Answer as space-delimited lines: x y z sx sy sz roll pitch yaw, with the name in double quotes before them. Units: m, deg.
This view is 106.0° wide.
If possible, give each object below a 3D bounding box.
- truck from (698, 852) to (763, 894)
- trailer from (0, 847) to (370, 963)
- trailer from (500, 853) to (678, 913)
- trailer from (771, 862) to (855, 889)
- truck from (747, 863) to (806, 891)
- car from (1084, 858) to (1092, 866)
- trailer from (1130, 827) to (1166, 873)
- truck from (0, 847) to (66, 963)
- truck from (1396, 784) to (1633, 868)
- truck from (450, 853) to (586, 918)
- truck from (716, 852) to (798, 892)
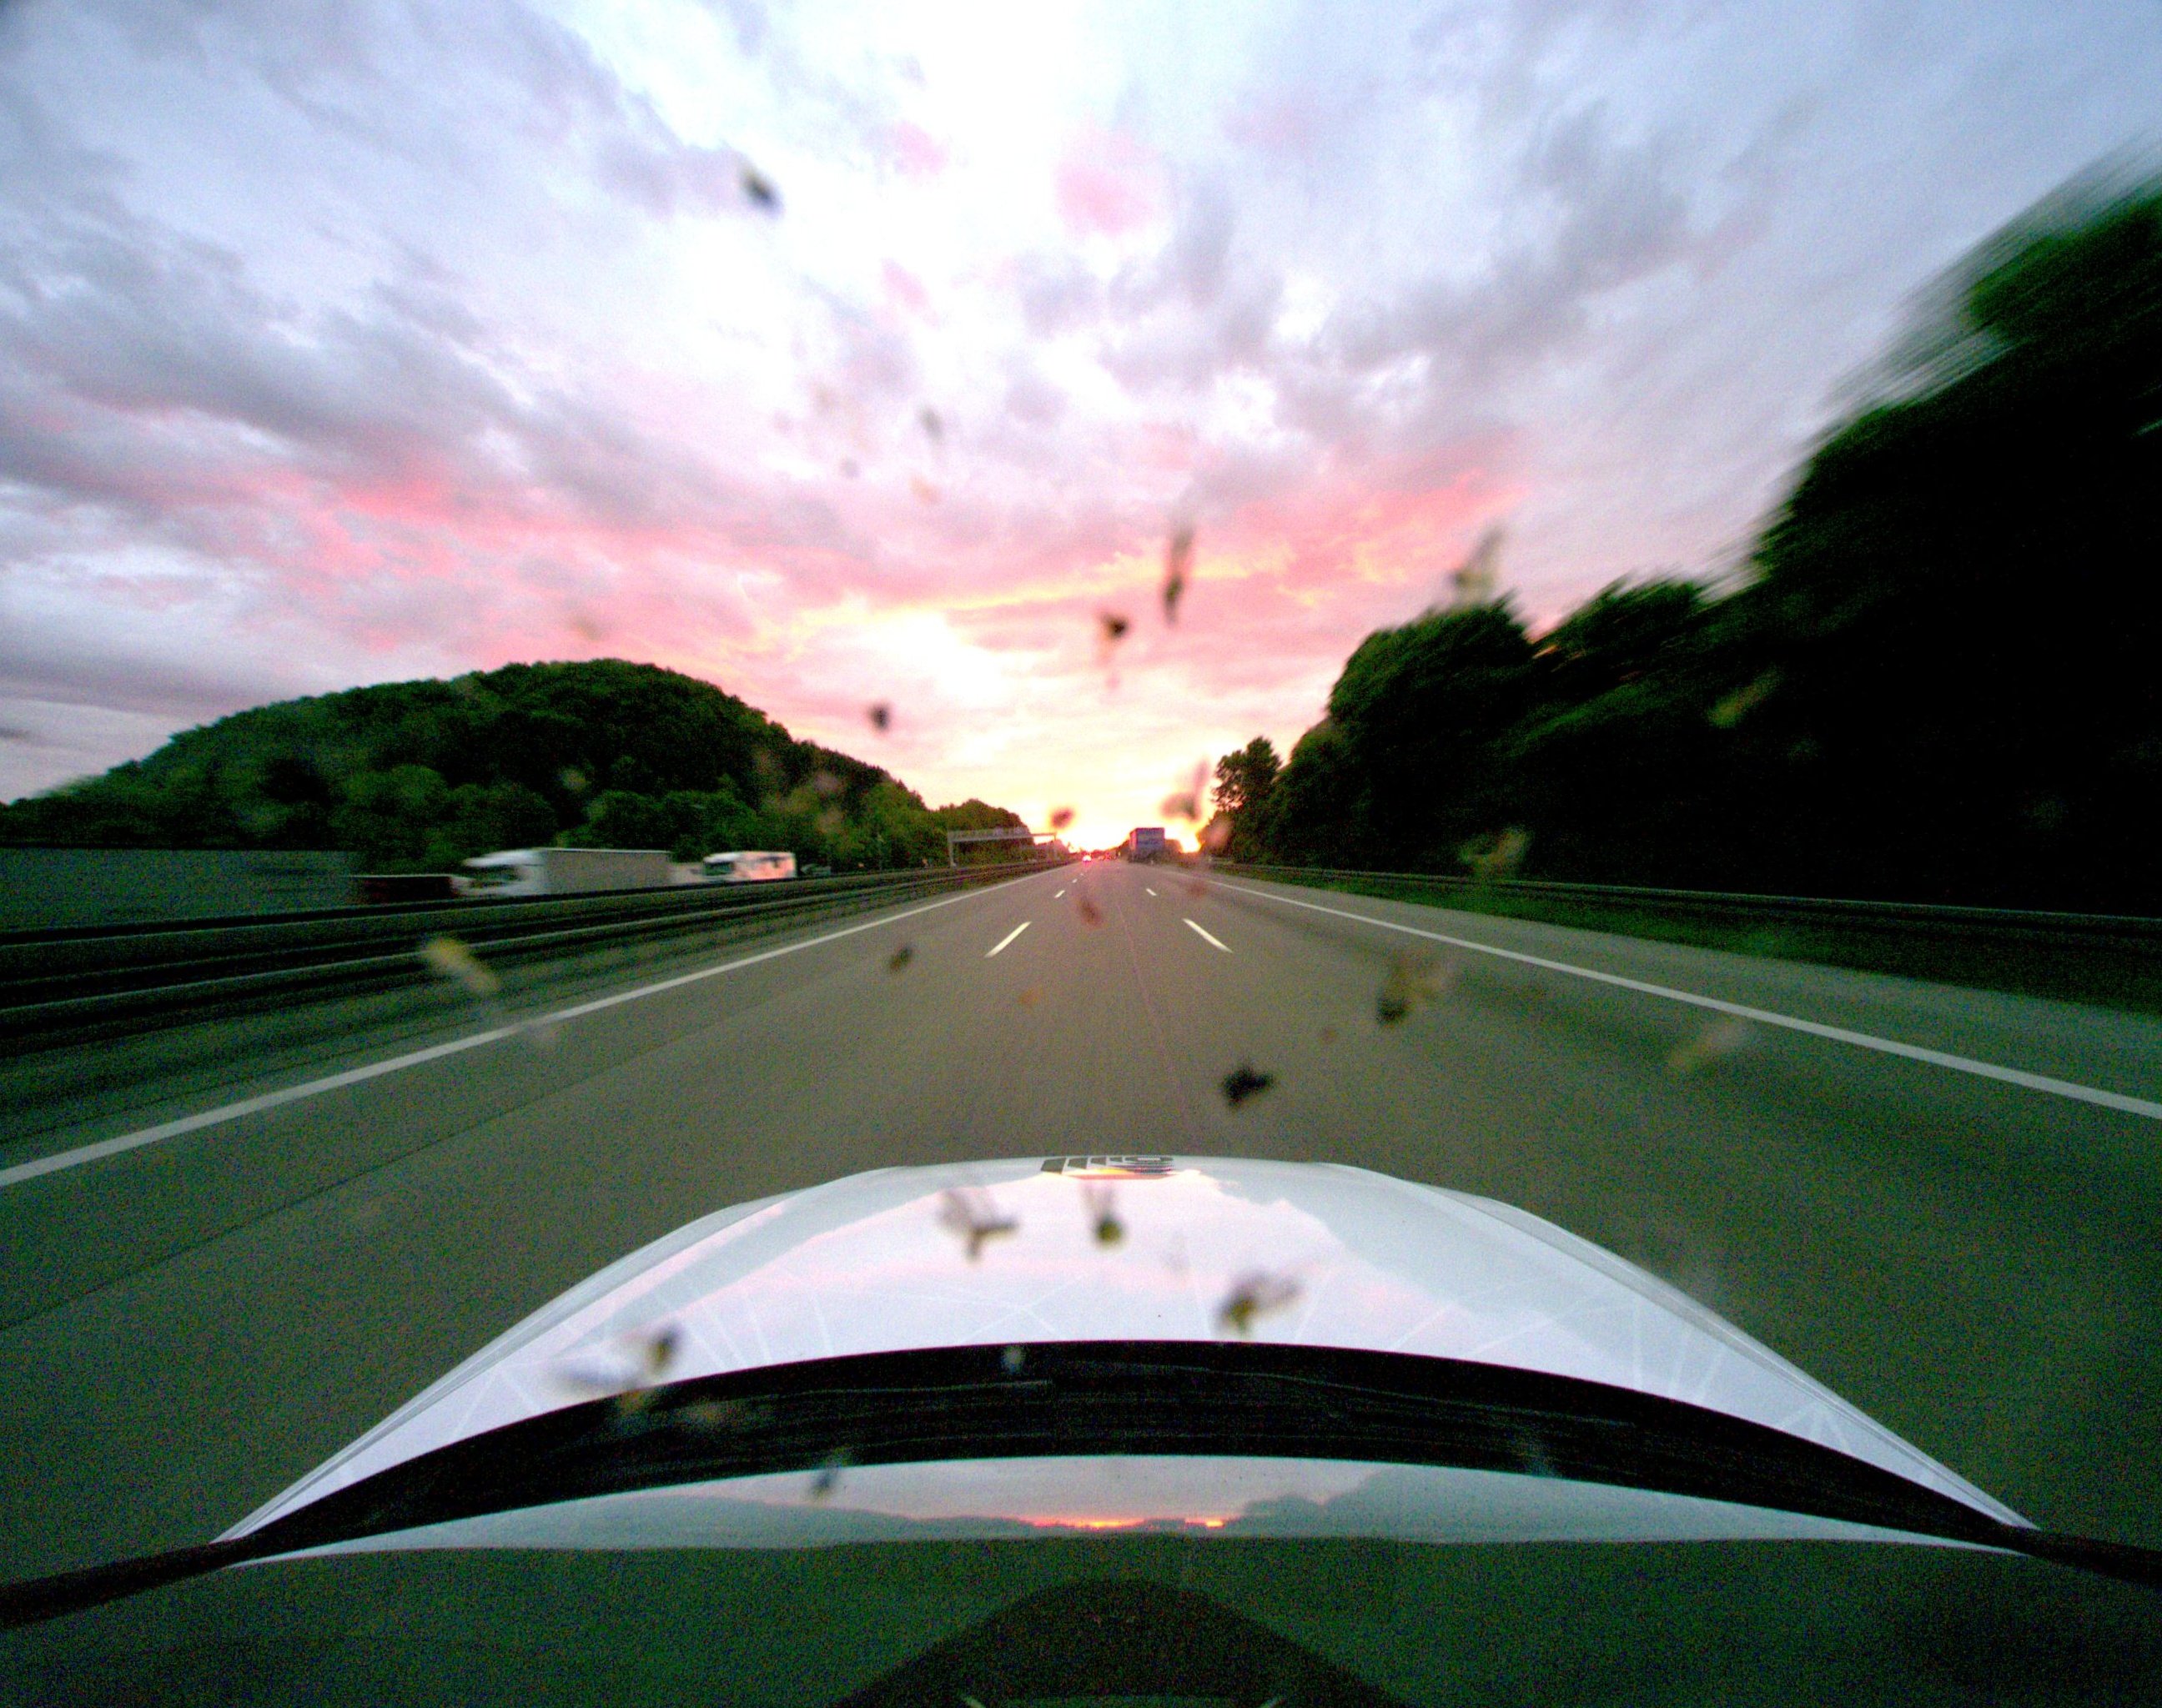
"truck" -30.587 1.584 71.377 2.866 3.425 6.720 -2 0 -2
"trailer" -33.102 1.543 29.129 2.862 3.425 13.578 -2 0 2
"trailer" -32.011 1.693 54.193 2.862 3.425 13.858 -2 0 2
"trailer" -41.152 3.236 125.867 3.032 3.679 13.427 -2 0 32
"truck" -44.782 3.351 119.991 2.975 3.679 7.727 -2 0 32
"car" 1.876 2.084 212.657 2.006 1.749 3.903 -5 0 1
"trailer" 6.423 -0.279 79.486 2.761 4.086 13.744 -1 -1 2
"truck" -33.411 1.538 22.183 2.862 3.425 6.730 -2 0 2
"truck" 26.592 -1.360 52.569 3.766 4.229 19.502 -3 -1 -3
"truck" -32.321 1.688 47.136 2.862 3.425 6.730 -2 0 3
"truck" -30.881 1.624 78.489 2.867 3.425 13.775 -2 0 -3
